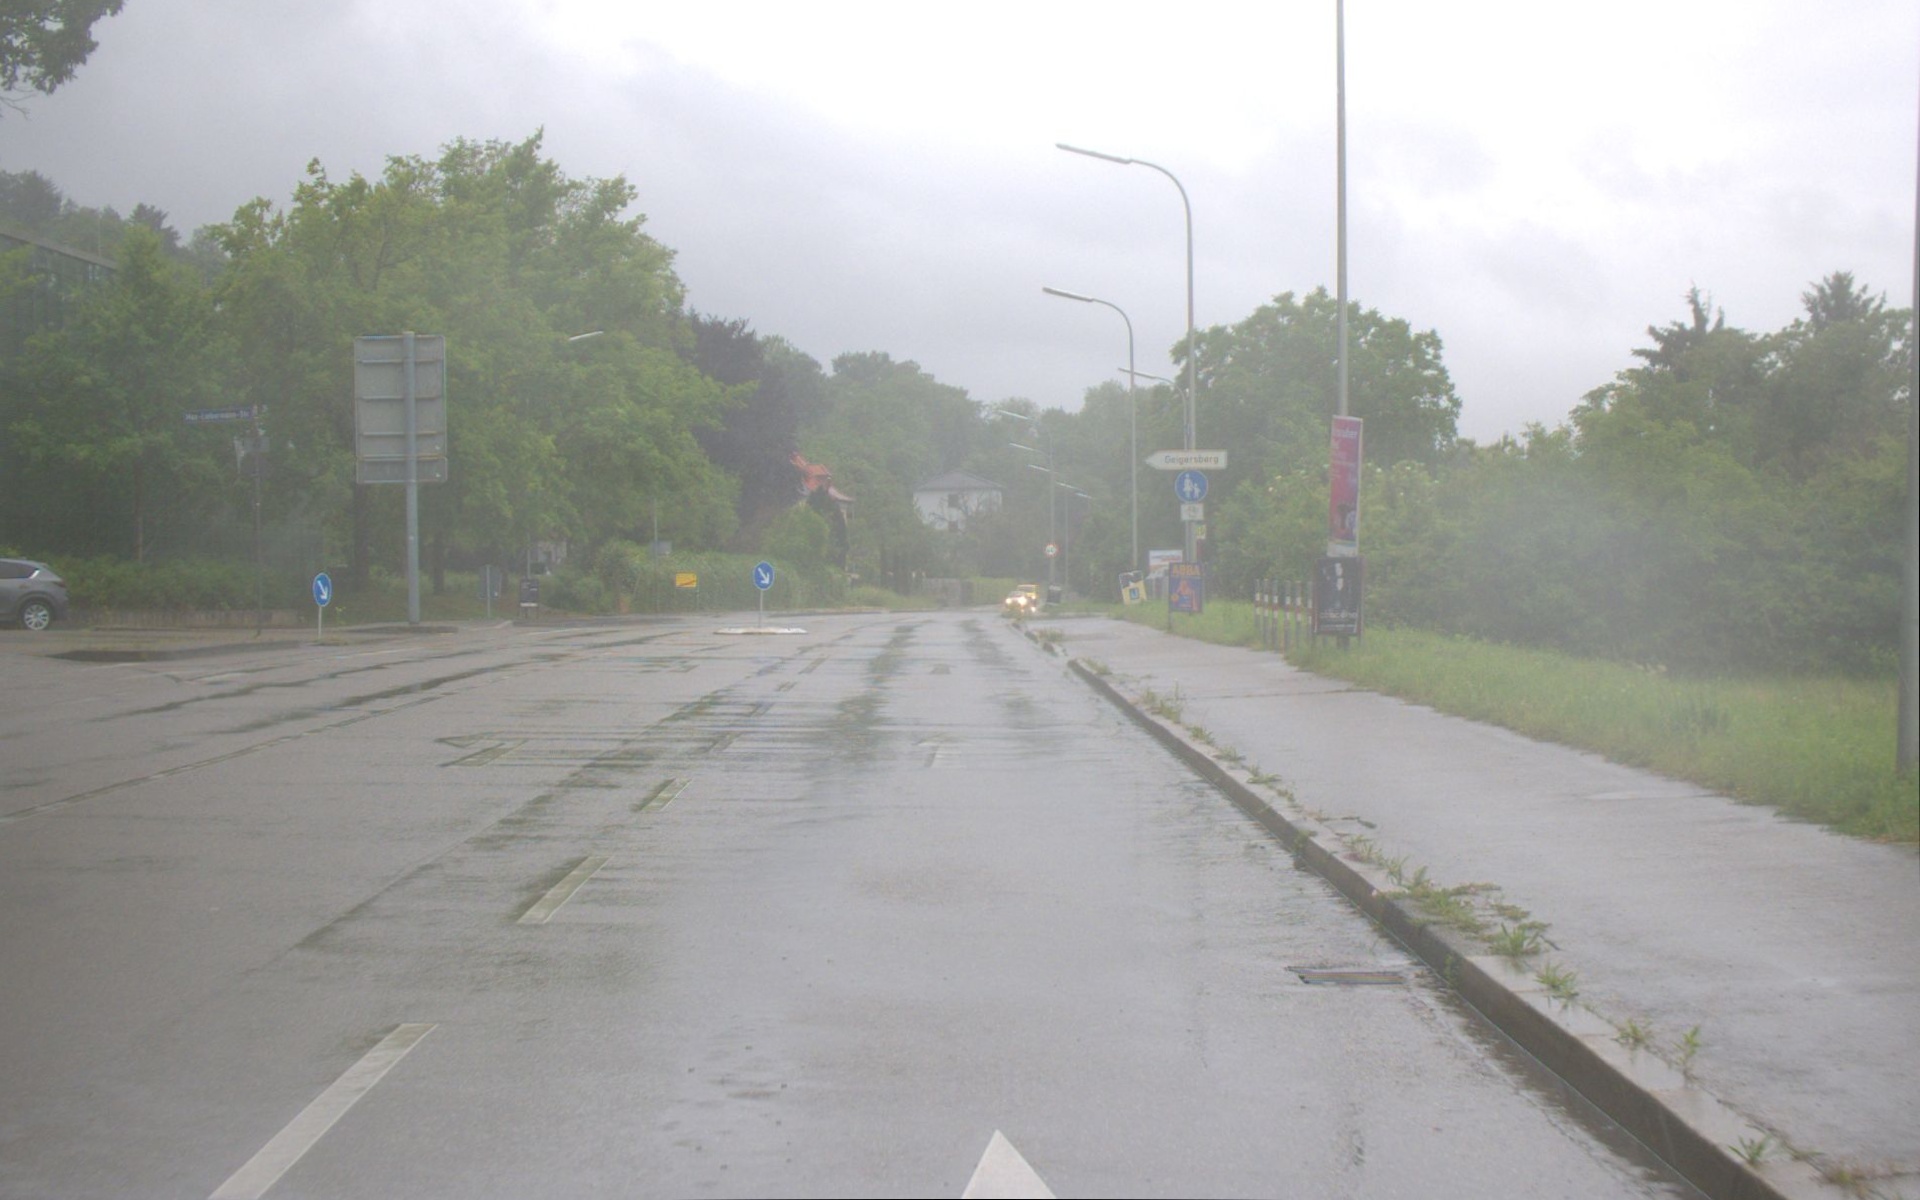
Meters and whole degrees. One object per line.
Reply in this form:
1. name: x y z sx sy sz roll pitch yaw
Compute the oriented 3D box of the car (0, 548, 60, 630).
1. car: -21.615 -0.256 74.084 3.986 1.756 1.800 0 1 -28
